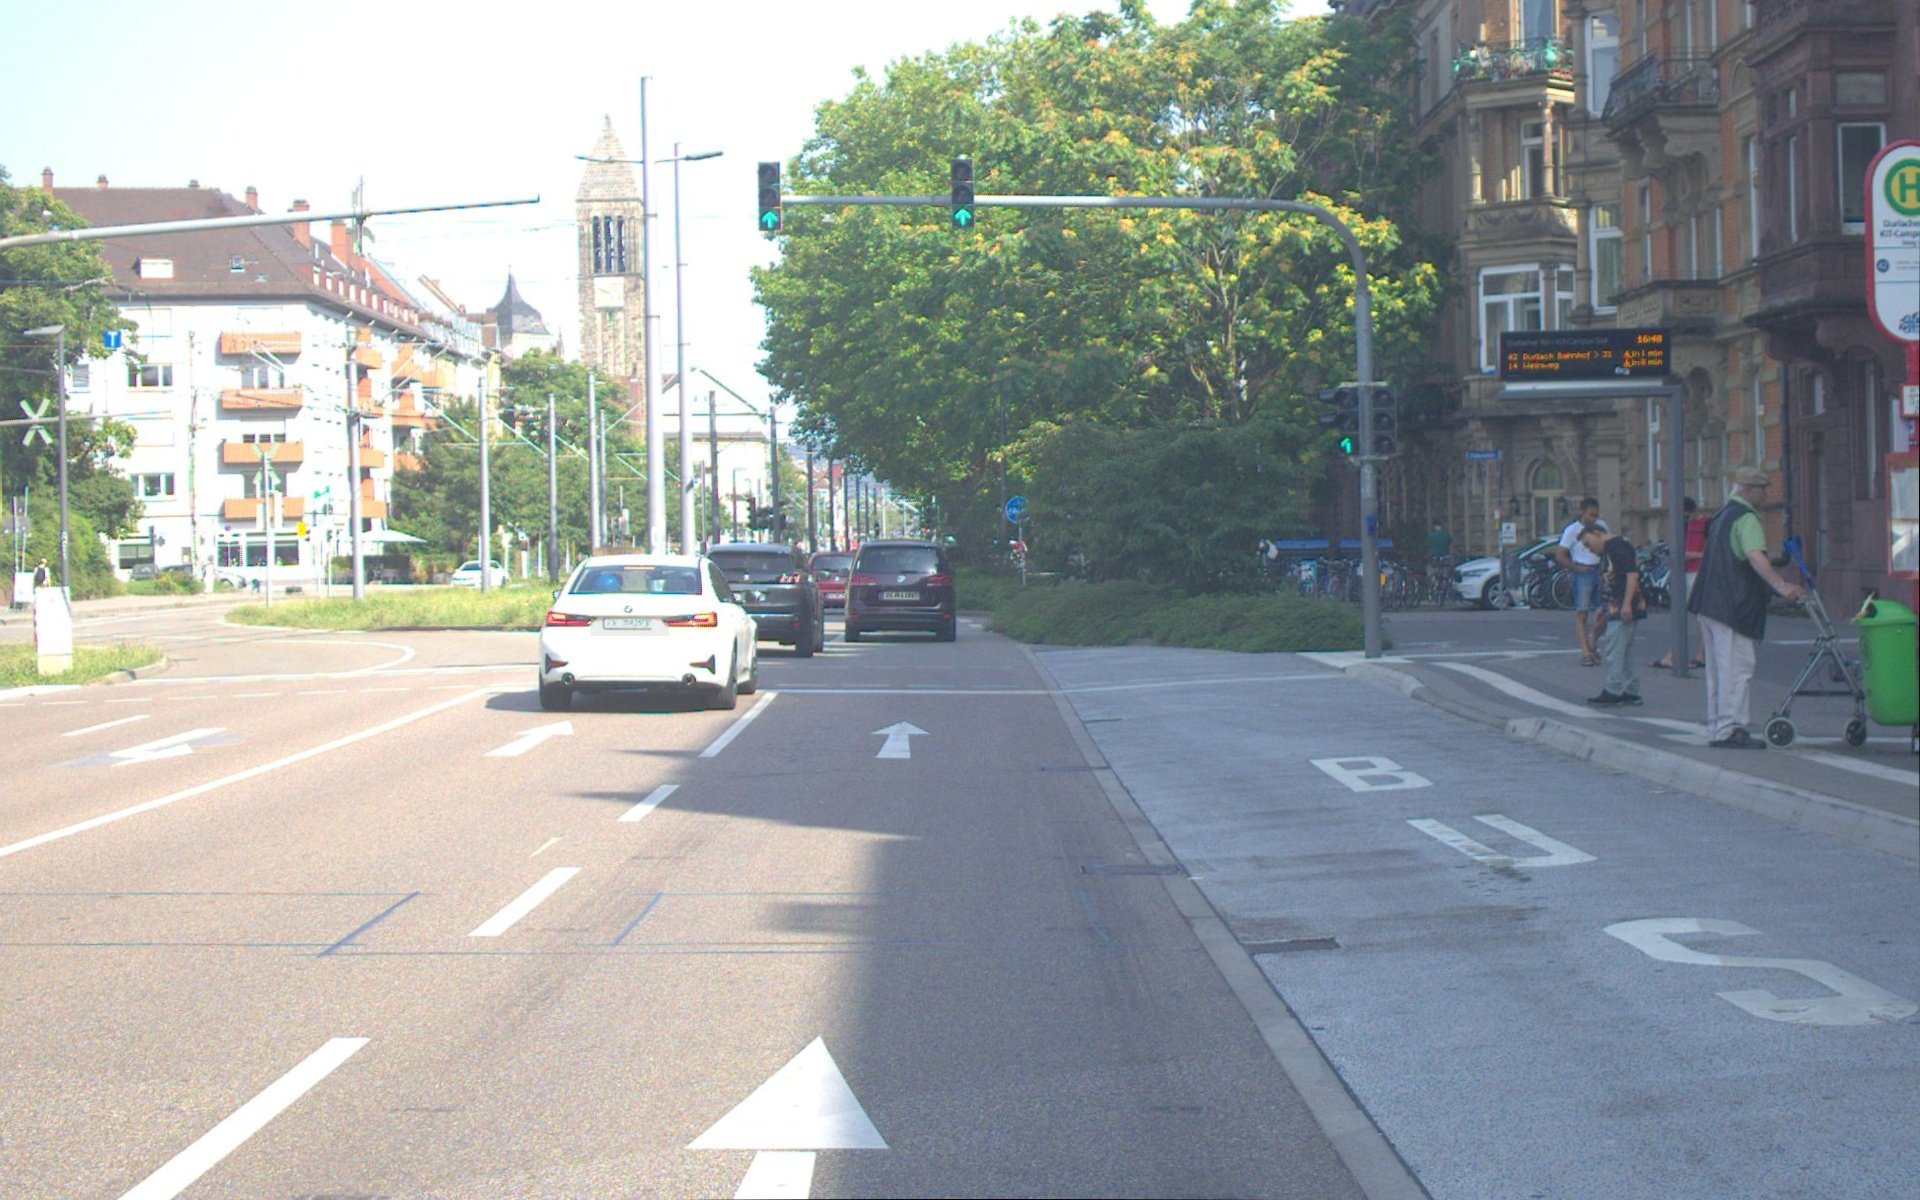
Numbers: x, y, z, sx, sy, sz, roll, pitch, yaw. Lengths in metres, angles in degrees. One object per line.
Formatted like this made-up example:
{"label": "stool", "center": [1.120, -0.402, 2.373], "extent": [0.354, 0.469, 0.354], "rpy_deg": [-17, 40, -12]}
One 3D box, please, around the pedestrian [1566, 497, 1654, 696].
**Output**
{"label": "pedestrian", "center": [5.348, -0.037, 28.320], "extent": [0.528, 1.606, 0.703], "rpy_deg": [-1, 1, -3]}

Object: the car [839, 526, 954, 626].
{"label": "car", "center": [-1.036, -0.431, 58.032], "extent": [1.831, 1.615, 4.357], "rpy_deg": [0, 1, 0]}

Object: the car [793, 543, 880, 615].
{"label": "car", "center": [-2.841, -0.511, 80.106], "extent": [1.831, 1.615, 4.357], "rpy_deg": [0, 1, 0]}

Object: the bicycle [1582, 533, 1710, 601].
{"label": "bicycle", "center": [10.975, -0.527, 55.015], "extent": [1.927, 1.044, 0.500], "rpy_deg": [-1, 1, -5]}

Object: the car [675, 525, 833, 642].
{"label": "car", "center": [-2.936, -0.275, 49.835], "extent": [1.993, 1.615, 4.357], "rpy_deg": [0, 1, 0]}

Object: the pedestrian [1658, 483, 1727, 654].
{"label": "pedestrian", "center": [7.368, -0.322, 34.586], "extent": [0.481, 1.696, 0.703], "rpy_deg": [-1, 1, -3]}

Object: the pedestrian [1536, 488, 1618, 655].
{"label": "pedestrian", "center": [6.238, -0.295, 34.761], "extent": [0.690, 1.658, 0.619], "rpy_deg": [-1, 1, 1]}

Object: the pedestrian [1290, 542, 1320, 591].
{"label": "pedestrian", "center": [7.653, -0.738, 76.190], "extent": [0.443, 1.067, 0.487], "rpy_deg": [-2, 1, -30]}

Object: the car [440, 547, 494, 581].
{"label": "car", "center": [-22.923, -1.694, 159.975], "extent": [1.993, 1.495, 4.000], "rpy_deg": [-1, 1, -2]}

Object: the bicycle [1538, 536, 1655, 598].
{"label": "bicycle", "center": [11.130, -0.580, 60.123], "extent": [1.927, 1.044, 0.527], "rpy_deg": [-1, 1, -5]}

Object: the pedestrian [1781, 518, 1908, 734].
{"label": "pedestrian", "center": [5.331, 0.147, 20.747], "extent": [0.565, 1.273, 0.597], "rpy_deg": [-1, 1, -4]}

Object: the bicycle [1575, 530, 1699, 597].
{"label": "bicycle", "center": [11.103, -0.596, 56.398], "extent": [1.927, 1.044, 0.500], "rpy_deg": [-1, 1, -5]}

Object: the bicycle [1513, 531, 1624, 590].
{"label": "bicycle", "center": [11.173, -0.725, 63.138], "extent": [1.927, 1.044, 0.527], "rpy_deg": [-1, 1, -5]}

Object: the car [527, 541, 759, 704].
{"label": "car", "center": [-3.010, 0.162, 33.521], "extent": [1.809, 1.422, 4.775], "rpy_deg": [1, 1, 0]}

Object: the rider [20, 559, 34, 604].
{"label": "rider", "center": [-29.407, -0.586, 108.403], "extent": [0.307, 1.426, 0.250], "rpy_deg": [-1, 1, 28]}

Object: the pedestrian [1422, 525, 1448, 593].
{"label": "pedestrian", "center": [10.586, -0.924, 76.604], "extent": [0.443, 1.501, 0.487], "rpy_deg": [-1, 1, -5]}

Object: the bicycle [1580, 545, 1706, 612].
{"label": "bicycle", "center": [11.080, -0.349, 55.816], "extent": [1.927, 1.044, 0.500], "rpy_deg": [-1, 1, -5]}

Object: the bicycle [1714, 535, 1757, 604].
{"label": "bicycle", "center": [12.014, -0.482, 53.258], "extent": [0.416, 1.044, 1.669], "rpy_deg": [-1, 1, 5]}

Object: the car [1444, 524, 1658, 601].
{"label": "car", "center": [12.757, -0.820, 74.412], "extent": [4.179, 1.558, 2.000], "rpy_deg": [-1, 1, -4]}

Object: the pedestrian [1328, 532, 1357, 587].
{"label": "pedestrian", "center": [8.767, -0.938, 78.787], "extent": [0.598, 1.244, 0.506], "rpy_deg": [-1, 1, 0]}

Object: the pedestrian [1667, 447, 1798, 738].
{"label": "pedestrian", "center": [4.673, -0.052, 20.822], "extent": [0.565, 1.723, 0.745], "rpy_deg": [-1, 1, -3]}
